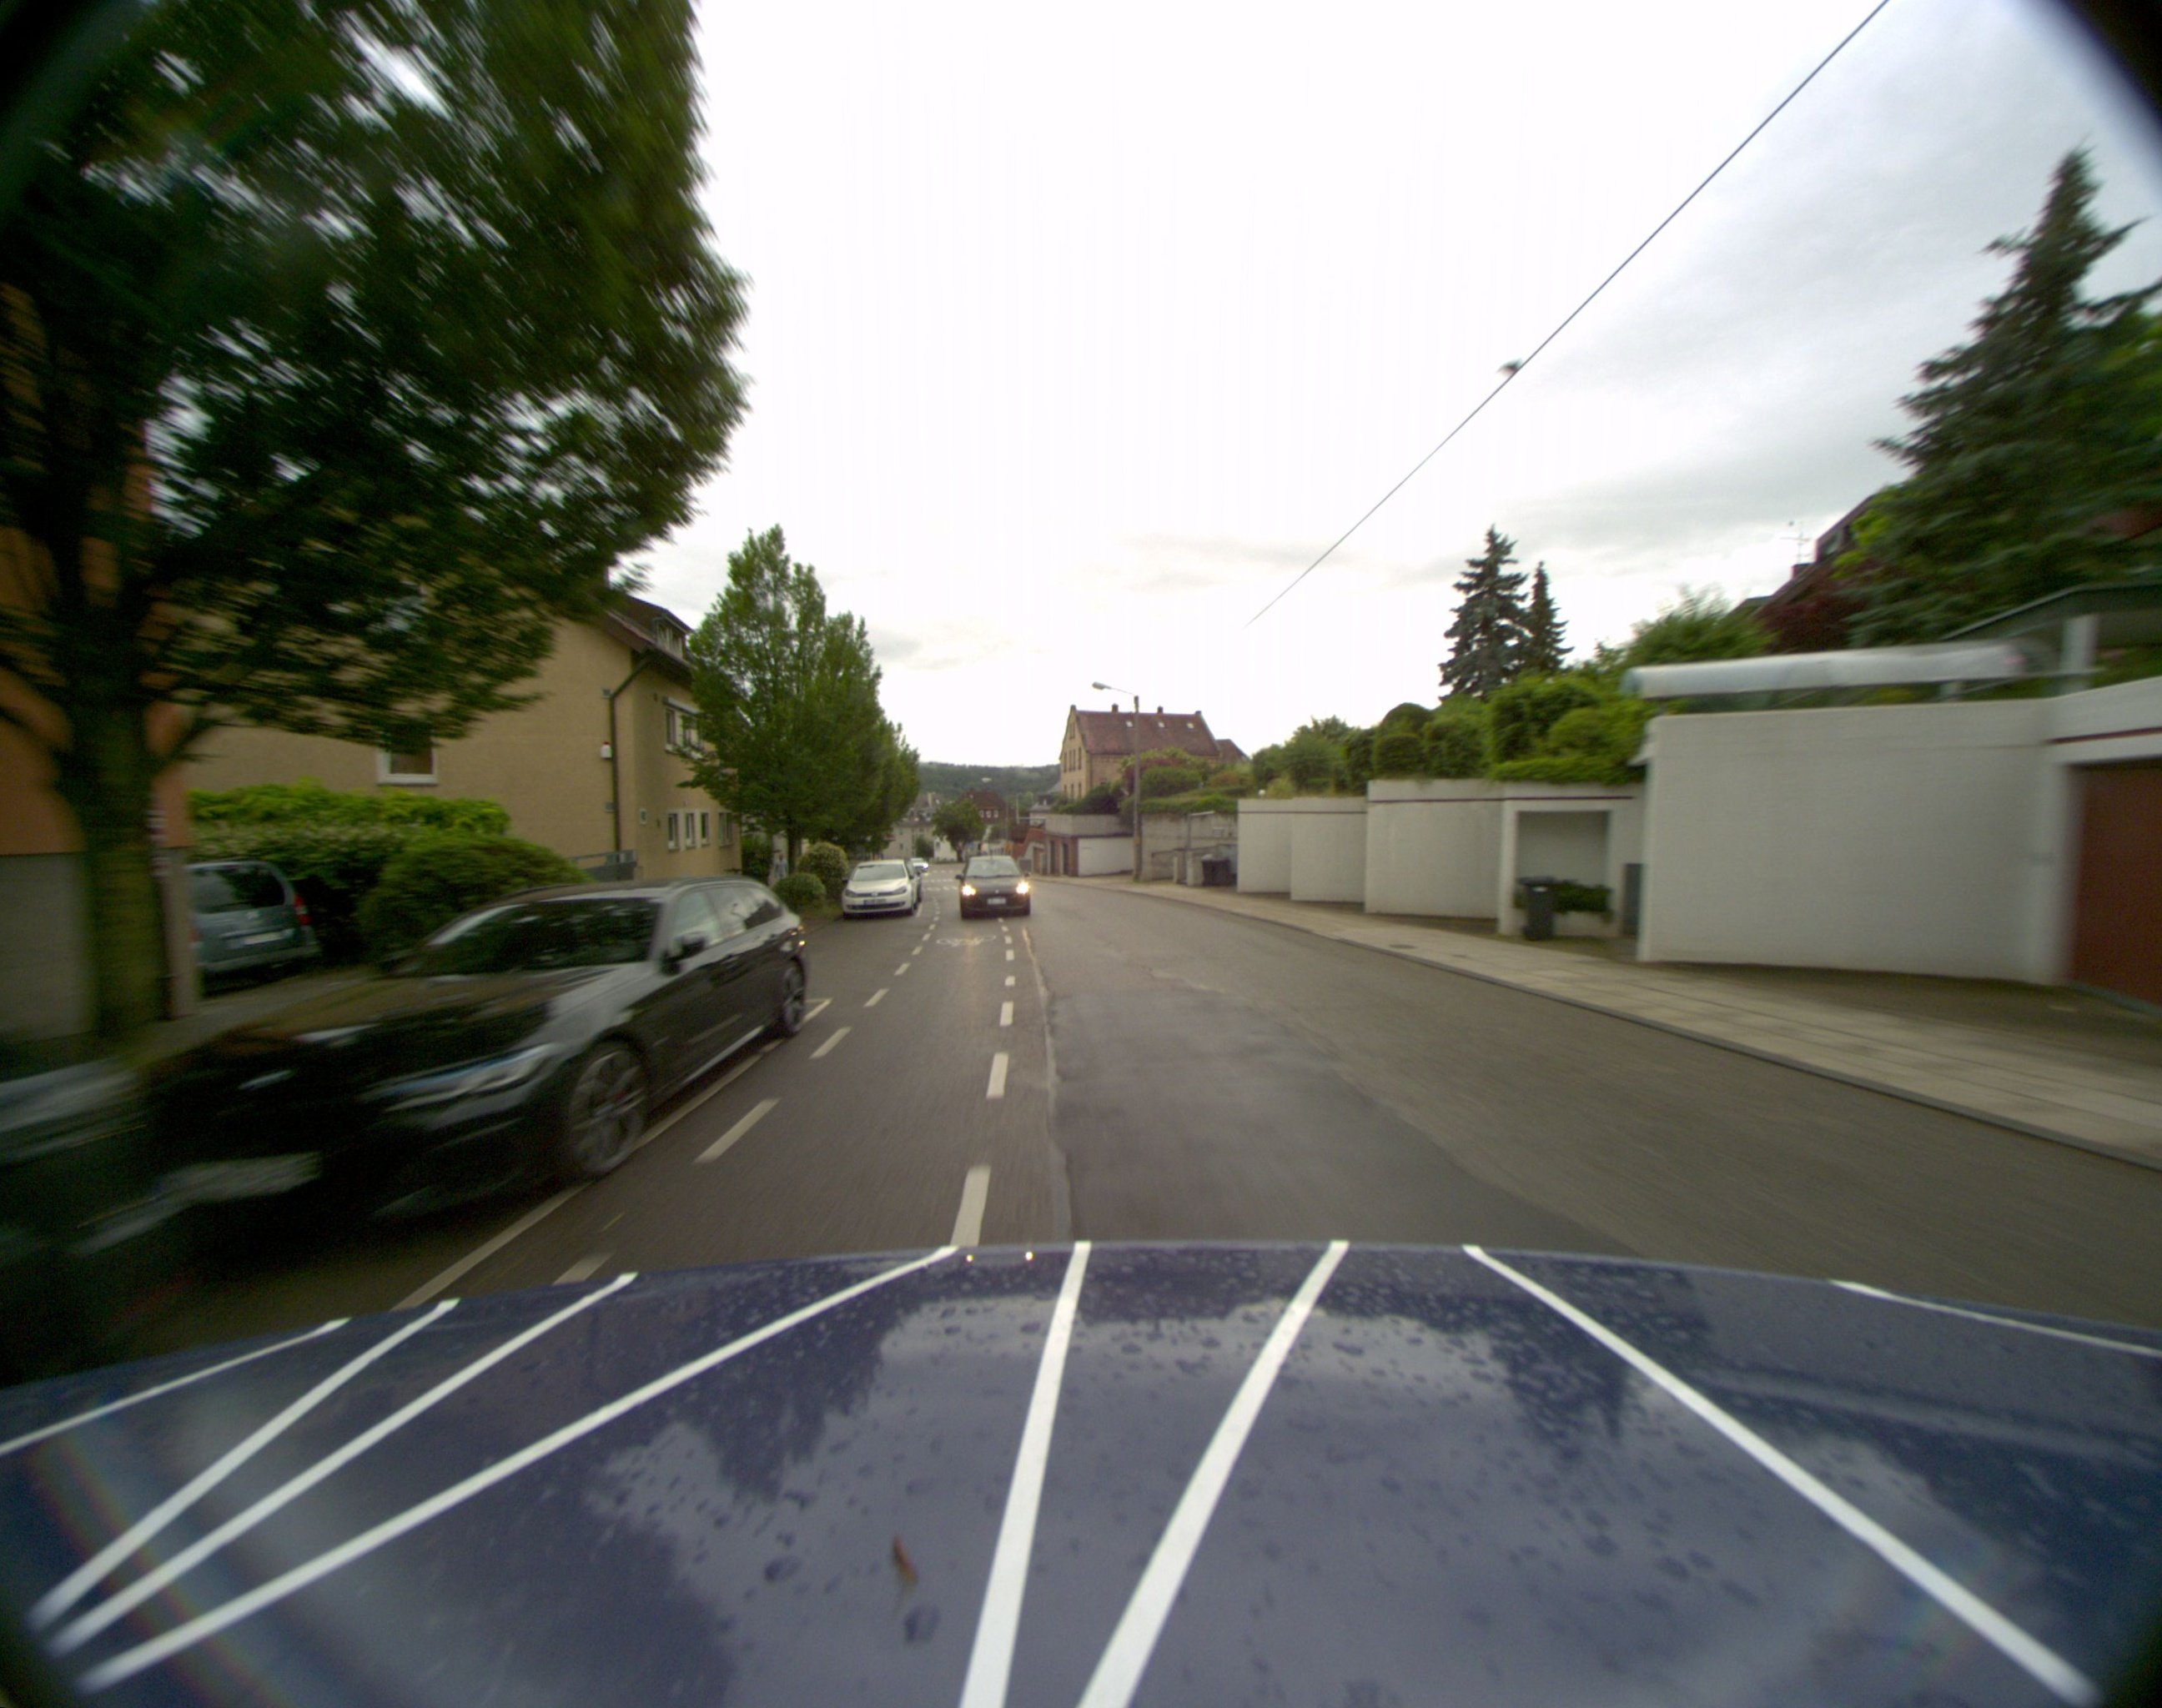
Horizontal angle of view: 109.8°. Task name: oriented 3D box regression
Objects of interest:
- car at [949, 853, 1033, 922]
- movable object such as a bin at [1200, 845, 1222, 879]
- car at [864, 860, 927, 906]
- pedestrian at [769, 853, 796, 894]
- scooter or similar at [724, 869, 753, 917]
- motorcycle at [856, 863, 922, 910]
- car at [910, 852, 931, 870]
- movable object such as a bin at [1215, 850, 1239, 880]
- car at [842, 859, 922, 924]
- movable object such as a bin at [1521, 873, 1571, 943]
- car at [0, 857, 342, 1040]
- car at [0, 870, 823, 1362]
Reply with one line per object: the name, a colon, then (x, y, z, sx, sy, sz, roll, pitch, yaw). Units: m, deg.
car: (-2.285, 0.774, 19.567, 1.893, 1.521, 4.054, -2, 0, -6)
movable object such as a bin: (4.561, 0.292, 26.585, 0.527, 1.140, 0.602, -2, 3, 31)
car: (-6.512, 0.970, 27.092, 1.885, 1.408, 4.463, -2, 0, -10)
pedestrian: (-12.345, 0.797, 31.413, 0.835, 1.676, 1.043, 1, 0, -12)
scooter or similar: (-9.438, 1.061, 20.974, 0.414, 1.238, 1.174, -1, 1, -9)
motorcycle: (-6.015, 1.009, 23.870, 1.920, 1.322, 0.786, -3, 1, -15)
car: (-18.596, 0.797, 88.025, 2.018, 1.892, 4.088, -2, 0, -17)
movable object such as a bin: (5.059, 0.365, 26.279, 0.608, 0.986, 0.602, -3, 1, 31)
car: (-5.318, 0.932, 20.743, 1.662, 1.481, 3.996, -3, 1, -9)
movable object such as a bin: (6.765, 0.780, 11.077, 0.543, 0.957, 0.647, -2, 1, 27)
car: (-13.016, 1.283, 10.129, 3.998, 1.798, 1.900, -9, 3, -4)
car: (-3.372, 0.996, 5.185, 1.860, 1.572, 4.855, -2, 1, -5)
